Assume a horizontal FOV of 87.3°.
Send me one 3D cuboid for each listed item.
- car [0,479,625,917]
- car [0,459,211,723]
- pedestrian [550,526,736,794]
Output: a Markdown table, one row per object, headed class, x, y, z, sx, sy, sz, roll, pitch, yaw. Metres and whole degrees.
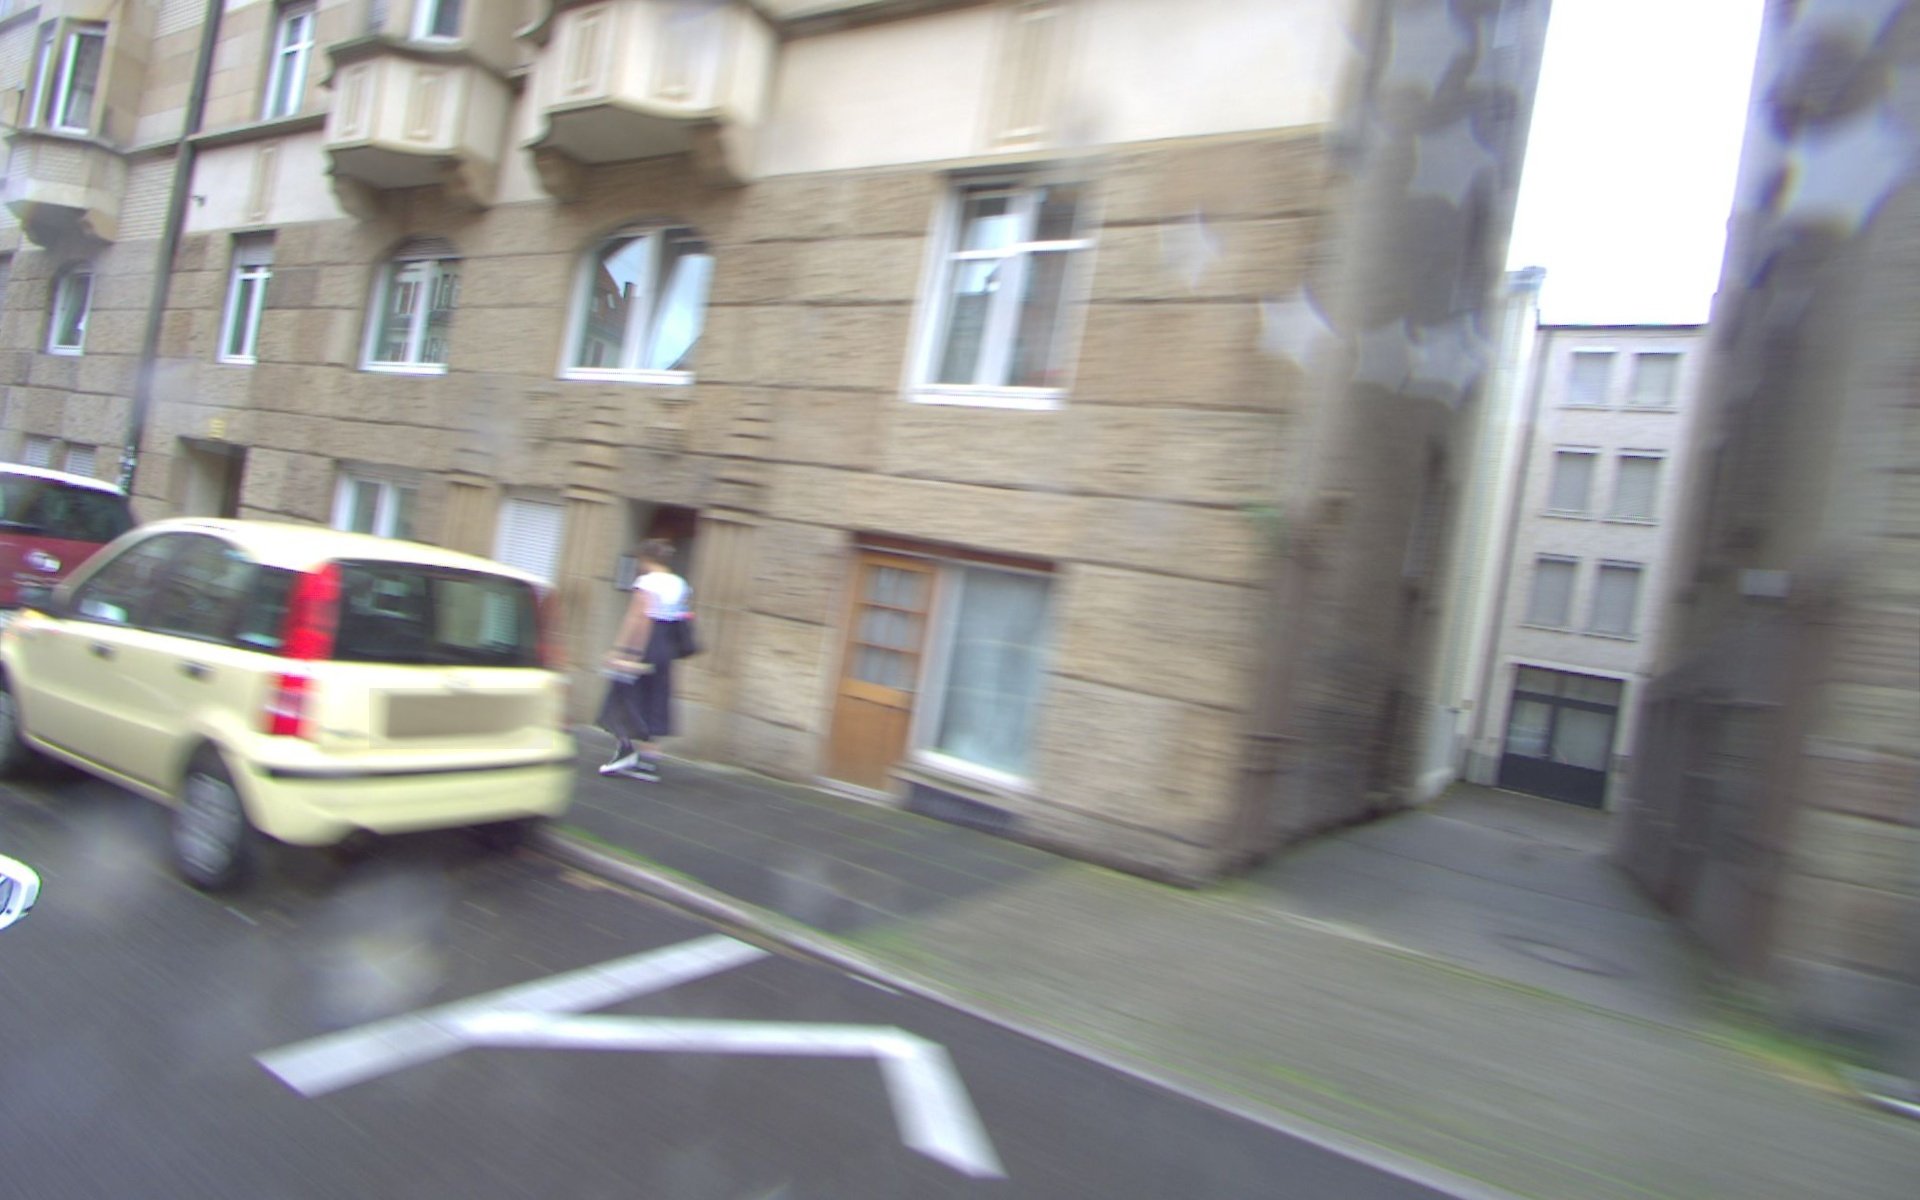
| class | x | y | z | sx | sy | sz | roll | pitch | yaw |
| --- | --- | --- | --- | --- | --- | --- | --- | --- | --- |
| car | -3.640 | 0.346 | 5.314 | 3.403 | 1.494 | 1.563 | 7 | -2 | 32 |
| car | -7.643 | -0.251 | 7.539 | 3.933 | 1.646 | 1.715 | 8 | -2 | 31 |
| pedestrian | -2.254 | 0.436 | 7.209 | 0.599 | 1.753 | 0.864 | 8 | -1 | 31 |
